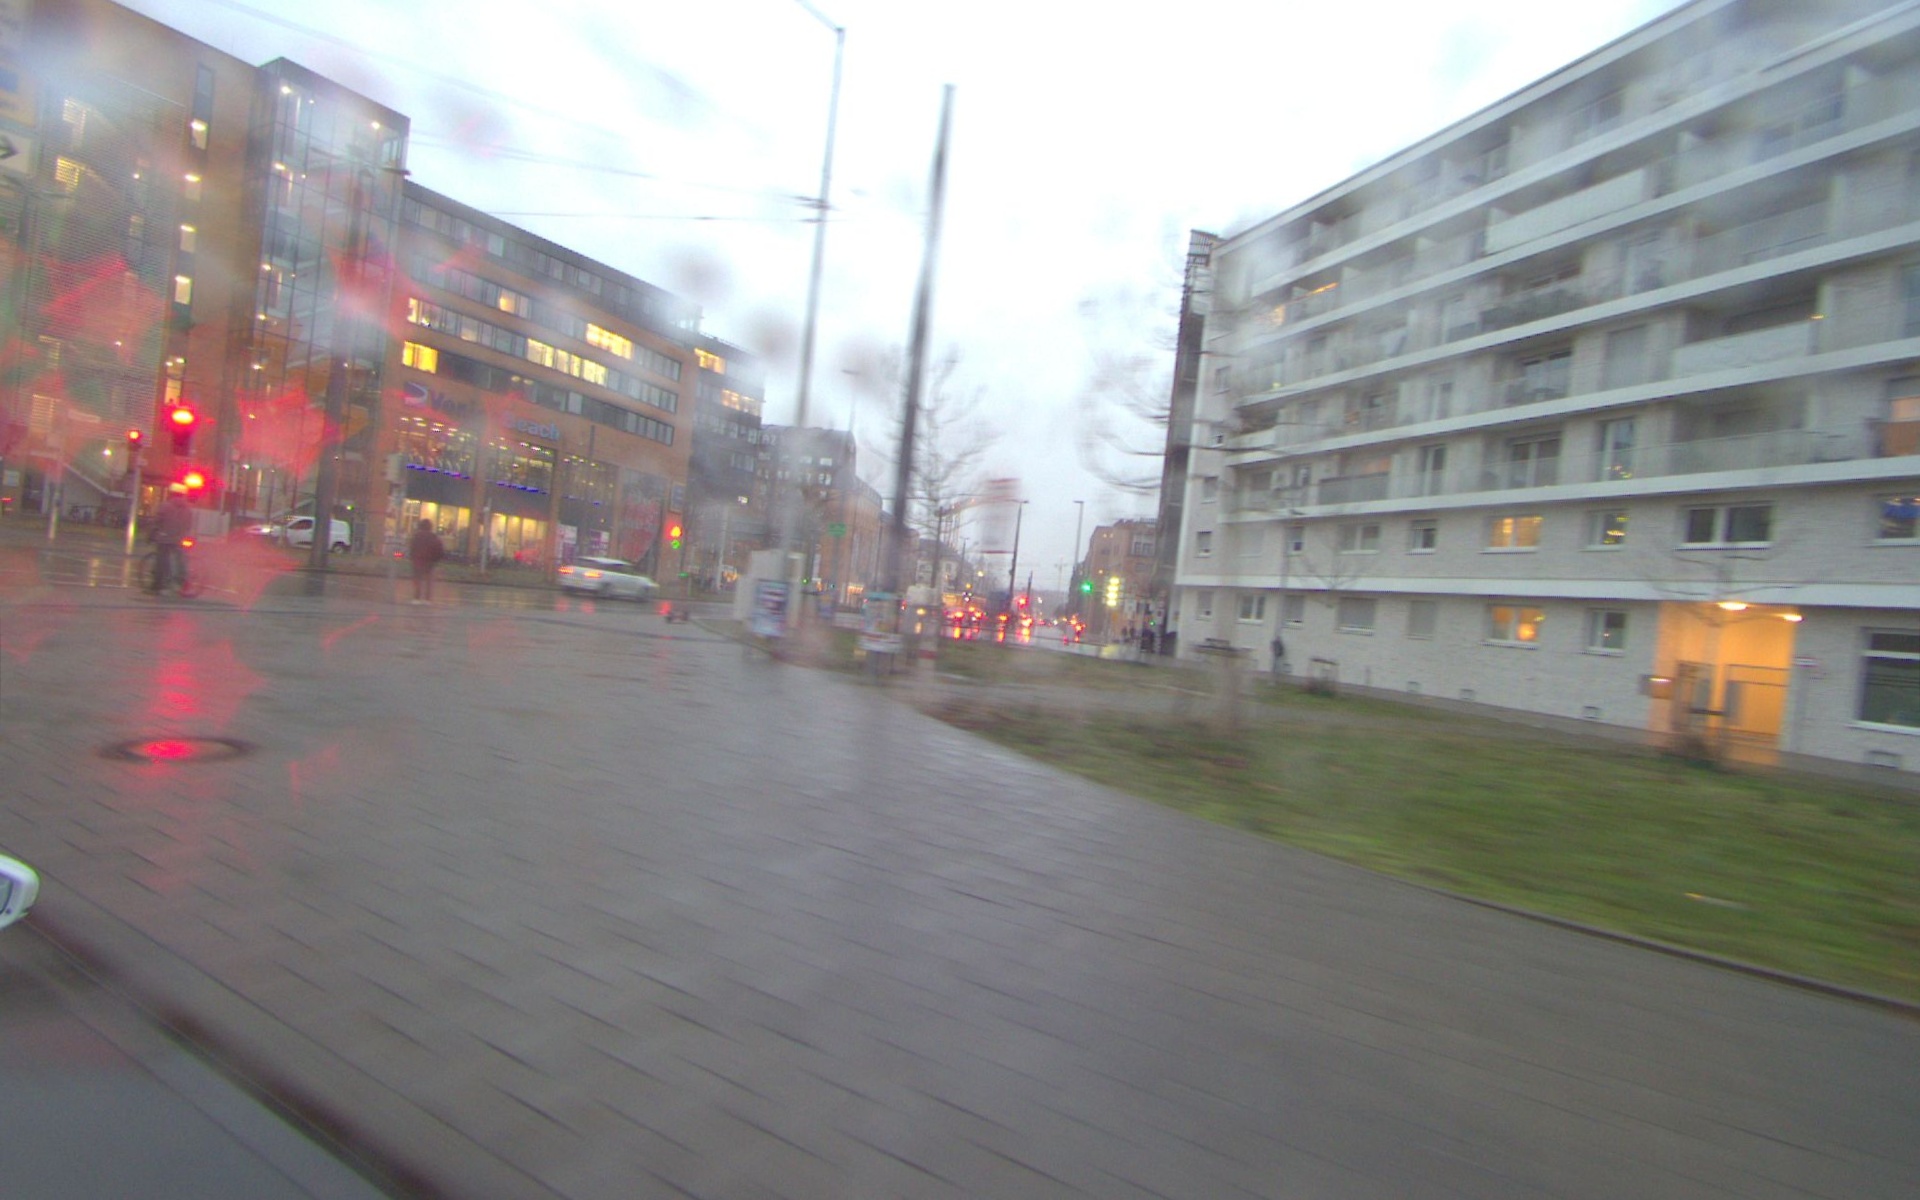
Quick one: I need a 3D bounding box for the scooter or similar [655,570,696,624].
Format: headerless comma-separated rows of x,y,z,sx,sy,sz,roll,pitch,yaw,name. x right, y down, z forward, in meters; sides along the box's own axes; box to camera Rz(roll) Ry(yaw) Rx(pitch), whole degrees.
-6.818,-0.052,24.143,0.327,1.221,1.310,7,0,7,scooter or similar

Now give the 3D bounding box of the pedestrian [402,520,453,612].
-11.594,-0.739,21.894,0.768,1.901,0.629,6,1,-33,pedestrian

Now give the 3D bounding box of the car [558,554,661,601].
-13.334,-0.829,38.497,1.614,1.377,3.733,7,-1,21,car

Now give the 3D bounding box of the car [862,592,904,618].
-5.385,0.365,70.663,1.613,1.514,3.686,7,0,17,car

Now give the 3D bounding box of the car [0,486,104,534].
-37.493,-3.711,40.414,1.600,1.462,4.421,7,0,24,car

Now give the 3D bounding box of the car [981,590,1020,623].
4.148,0.726,101.469,2.318,2.861,6.362,7,-1,15,car

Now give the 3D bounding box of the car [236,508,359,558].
-32.605,-3.277,49.645,1.899,1.740,4.597,7,0,34,car

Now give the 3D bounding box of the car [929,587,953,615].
-2.209,0.168,114.139,2.319,2.861,6.358,7,-1,-1,car

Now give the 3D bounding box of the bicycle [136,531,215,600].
-13.184,-0.590,16.886,1.840,0.985,0.654,7,0,41,bicycle

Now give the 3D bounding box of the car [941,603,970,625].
-0.351,1.219,85.464,1.494,1.538,3.473,7,-1,14,car

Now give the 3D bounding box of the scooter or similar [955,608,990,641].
0.541,1.063,42.744,0.658,1.241,1.555,6,-2,30,scooter or similar

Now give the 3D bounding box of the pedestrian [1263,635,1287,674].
14.129,2.461,45.077,0.624,1.653,0.718,7,1,41,pedestrian

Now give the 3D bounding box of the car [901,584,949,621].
-2.702,0.252,78.969,1.962,2.457,5.978,7,-1,13,car

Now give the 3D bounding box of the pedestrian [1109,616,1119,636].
13.640,2.325,89.035,0.522,1.703,0.745,7,0,18,pedestrian

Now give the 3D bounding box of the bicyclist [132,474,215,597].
-13.124,-1.075,16.785,0.975,1.914,0.789,7,1,41,bicyclist
